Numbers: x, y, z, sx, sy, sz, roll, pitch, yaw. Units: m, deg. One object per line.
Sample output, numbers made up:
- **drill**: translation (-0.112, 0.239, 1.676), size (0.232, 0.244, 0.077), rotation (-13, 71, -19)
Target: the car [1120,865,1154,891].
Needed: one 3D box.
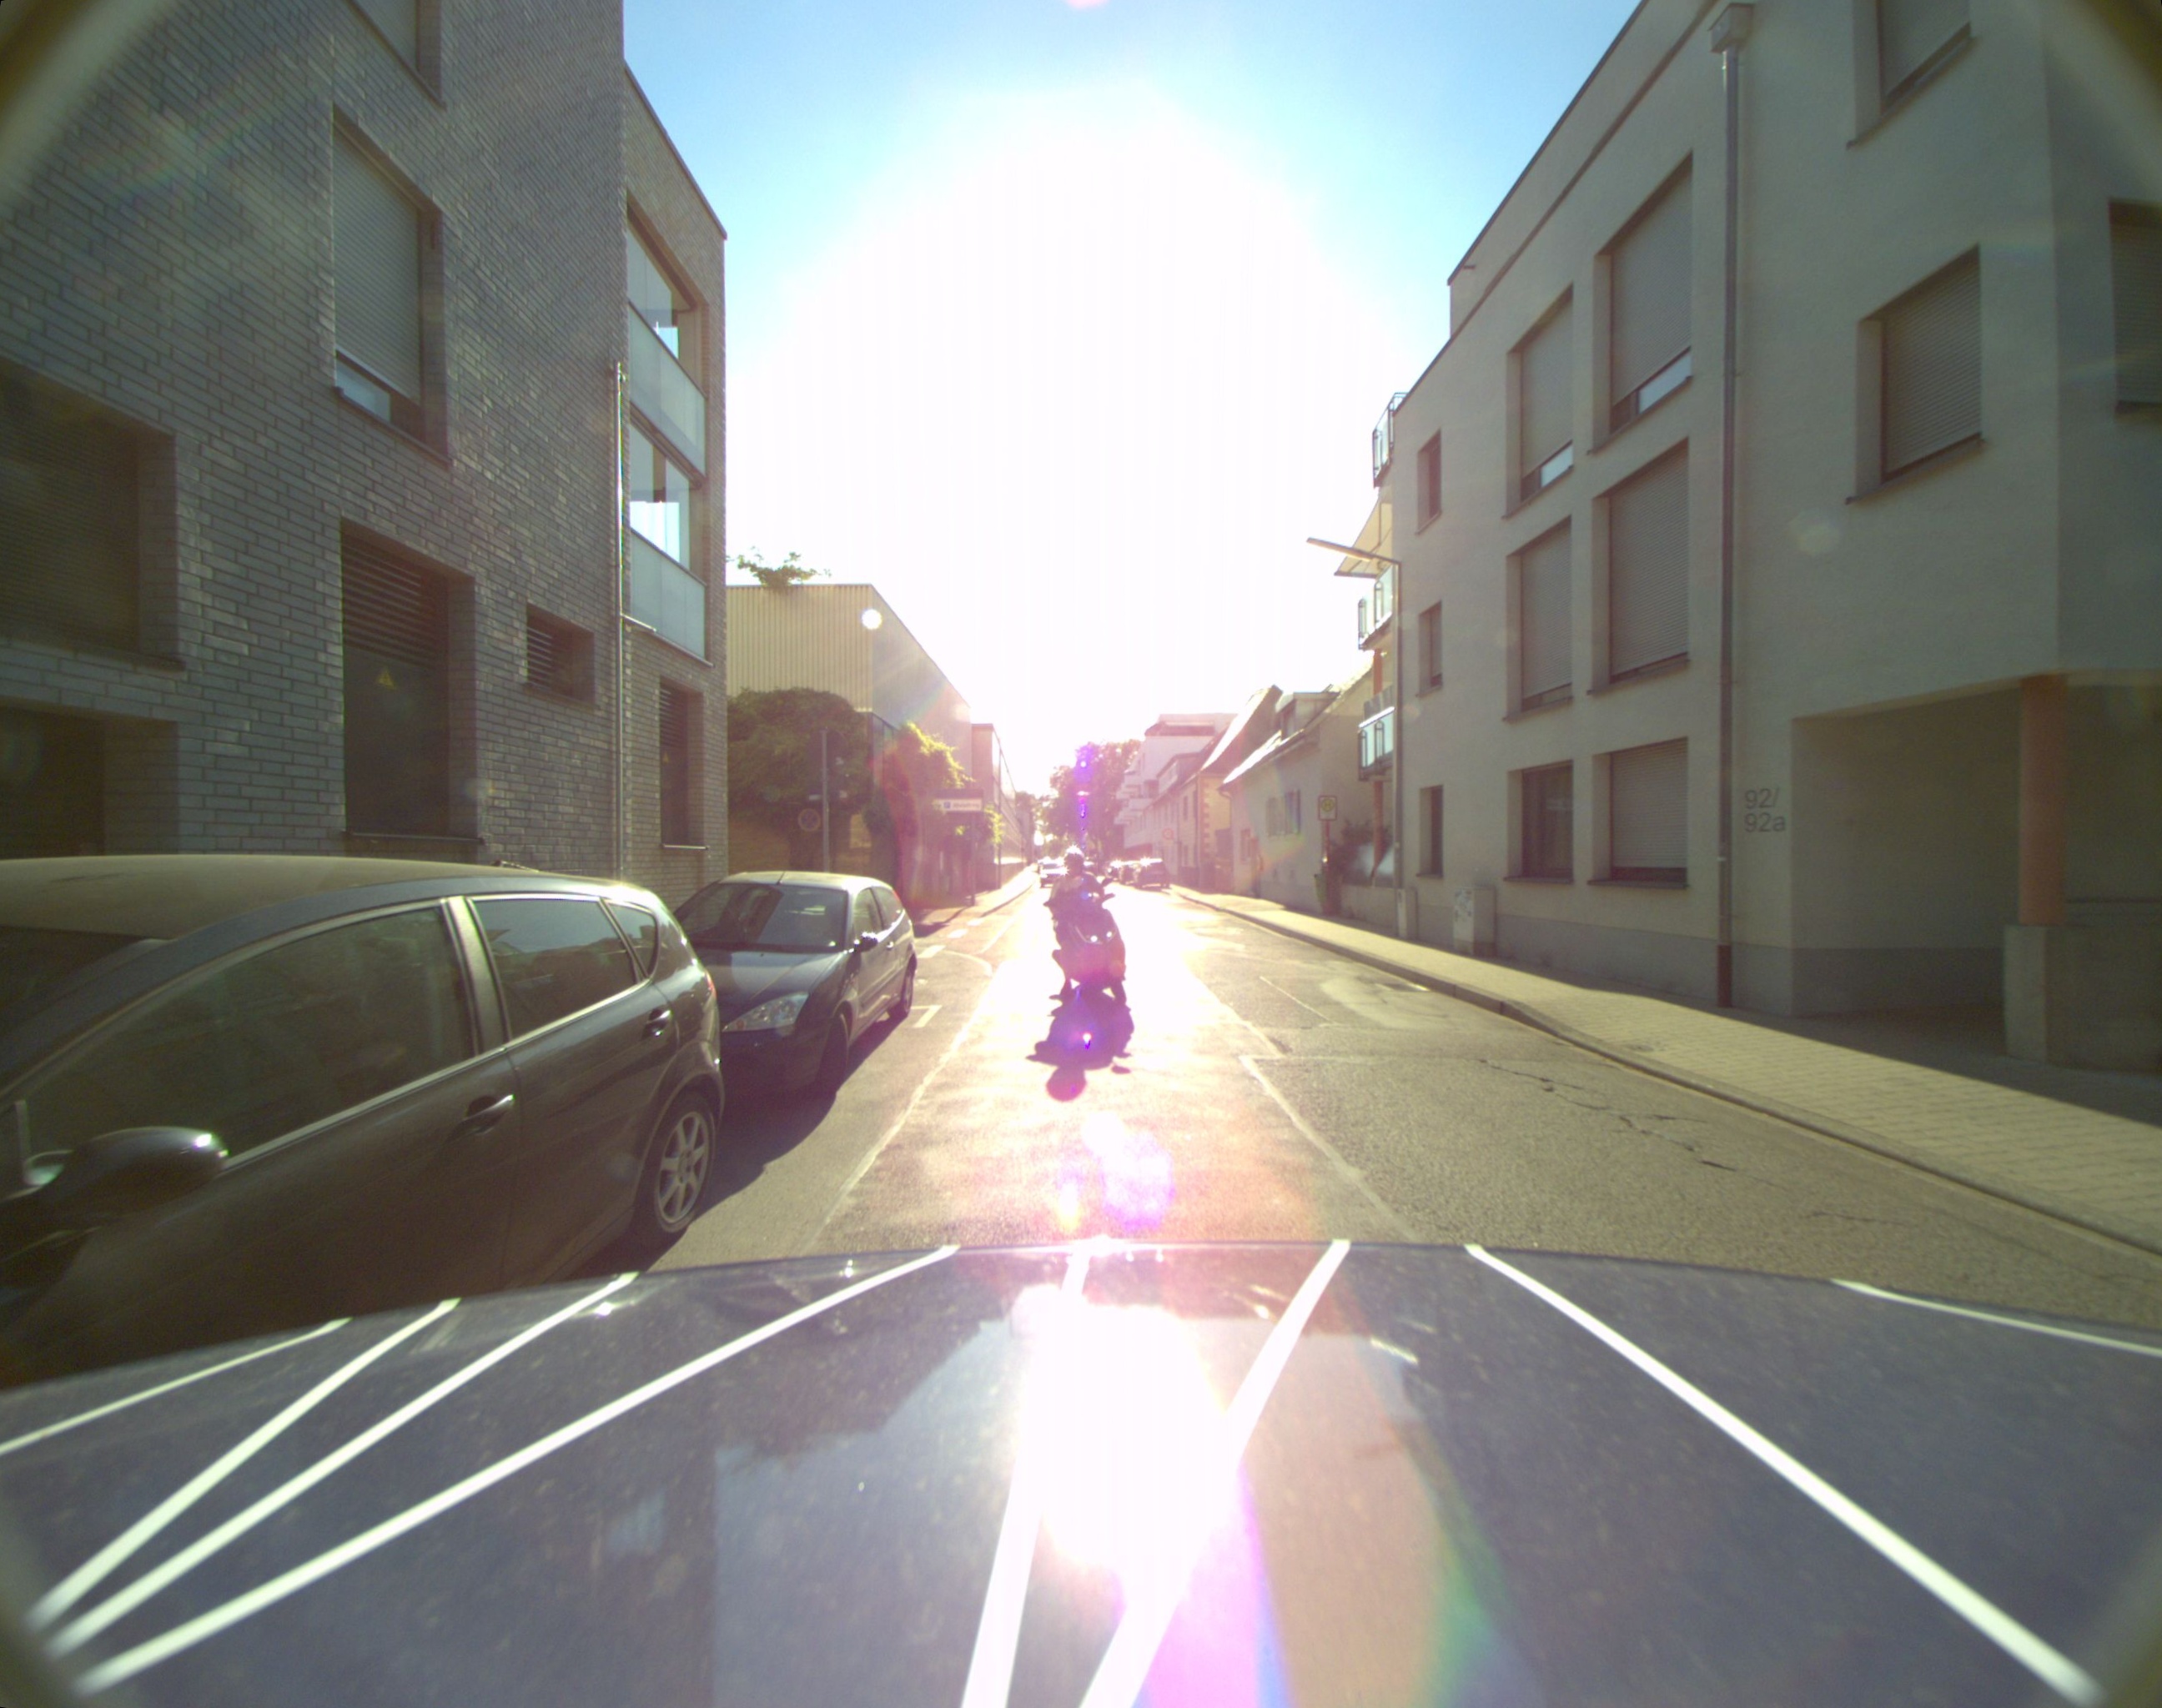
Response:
- **car**: translation (3.826, 1.630, 52.718), size (1.999, 1.613, 4.000), rotation (1, 0, -1)

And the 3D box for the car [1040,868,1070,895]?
- **car**: translation (-1.615, 1.682, 47.464), size (1.708, 1.569, 3.915), rotation (-2, 0, -2)

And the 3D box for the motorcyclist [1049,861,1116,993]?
- **motorcyclist**: translation (0.022, 0.801, 8.681), size (0.717, 1.424, 0.746), rotation (1, 0, 1)

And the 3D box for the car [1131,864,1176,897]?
- **car**: translation (4.154, 1.494, 44.052), size (1.999, 1.618, 4.000), rotation (-6, 0, -1)

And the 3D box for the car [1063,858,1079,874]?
- **car**: translation (-1.257, 1.504, 97.109), size (1.998, 2.002, 4.000), rotation (1, 0, 1)

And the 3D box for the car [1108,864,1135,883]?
- **car**: translation (3.321, 1.614, 62.886), size (1.999, 1.458, 4.000), rotation (1, 0, -1)

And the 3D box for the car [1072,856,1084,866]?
- **car**: translation (-0.493, 1.254, 130.762), size (1.998, 1.665, 4.000), rotation (1, -1, 0)

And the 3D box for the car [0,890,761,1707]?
- **car**: translation (-2.426, 0.978, 1.714), size (1.655, 1.582, 4.342), rotation (3, -1, -2)

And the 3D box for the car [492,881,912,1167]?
- **car**: translation (-2.563, 1.045, 6.181), size (1.732, 1.515, 3.653), rotation (1, 0, -3)

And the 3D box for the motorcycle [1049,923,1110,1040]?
- **motorcycle**: translation (-0.003, 1.360, 8.528), size (0.598, 1.004, 1.822), rotation (1, 0, 1)

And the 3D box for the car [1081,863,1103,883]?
- **car**: translation (0.877, 1.560, 63.123), size (1.736, 1.456, 3.999), rotation (-2, 1, -1)
